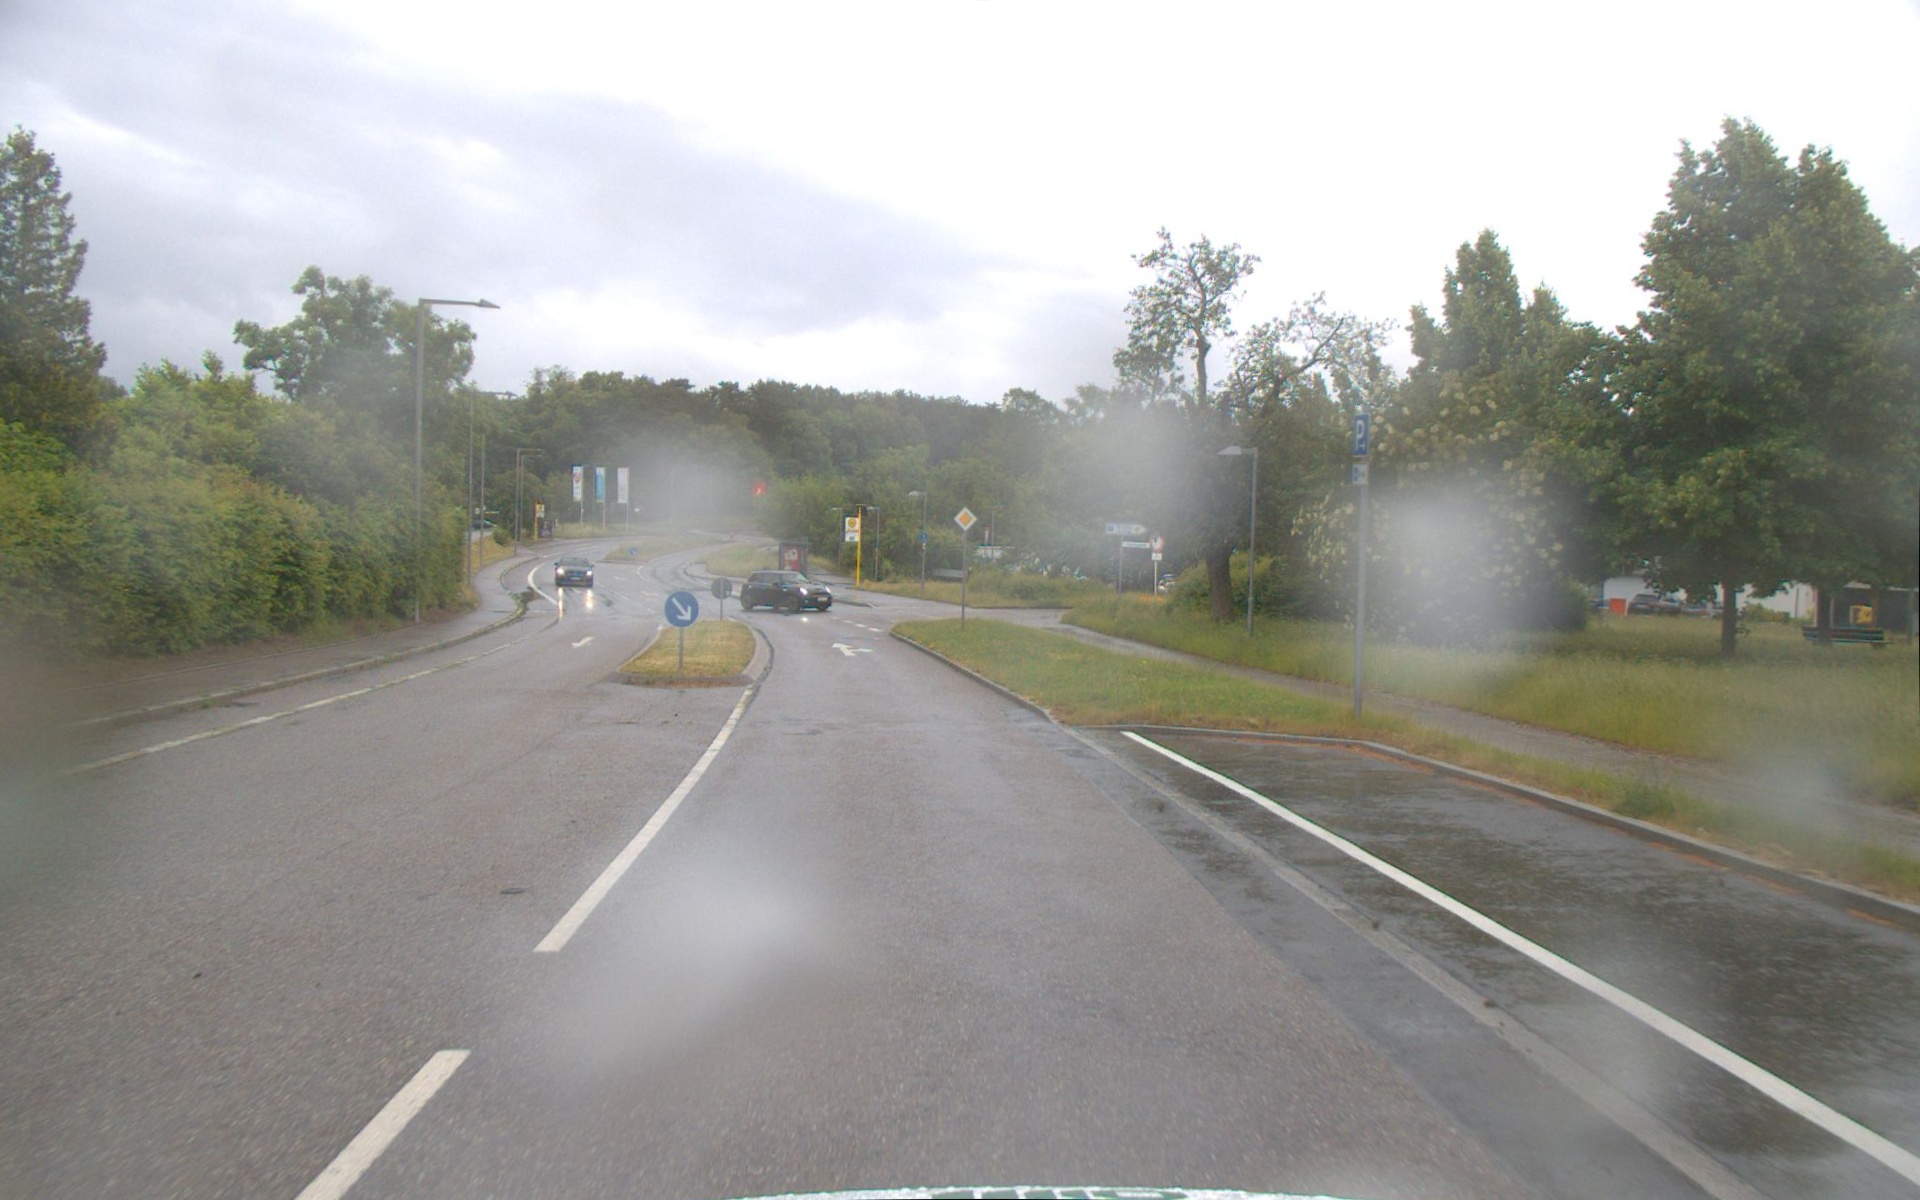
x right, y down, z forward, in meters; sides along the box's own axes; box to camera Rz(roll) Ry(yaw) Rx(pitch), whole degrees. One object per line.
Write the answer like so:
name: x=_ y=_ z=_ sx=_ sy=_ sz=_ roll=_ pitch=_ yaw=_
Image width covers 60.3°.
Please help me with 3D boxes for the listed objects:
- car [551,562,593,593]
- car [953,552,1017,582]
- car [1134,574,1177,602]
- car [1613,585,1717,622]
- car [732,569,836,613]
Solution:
car: x=-19.364 y=-1.140 z=82.467 sx=1.935 sy=1.438 sz=4.399 roll=-1 pitch=2 yaw=-14
car: x=1.542 y=-2.005 z=101.642 sx=3.354 sy=1.720 sz=1.993 roll=0 pitch=-3 yaw=35
car: x=11.688 y=-0.743 z=99.076 sx=1.892 sy=1.534 sz=3.998 roll=0 pitch=3 yaw=-4
car: x=35.840 y=0.175 z=84.177 sx=1.896 sy=1.780 sz=4.489 roll=0 pitch=-1 yaw=-41
car: x=-6.412 y=-0.333 z=60.464 sx=3.447 sy=1.379 sz=1.461 roll=4 pitch=1 yaw=11
